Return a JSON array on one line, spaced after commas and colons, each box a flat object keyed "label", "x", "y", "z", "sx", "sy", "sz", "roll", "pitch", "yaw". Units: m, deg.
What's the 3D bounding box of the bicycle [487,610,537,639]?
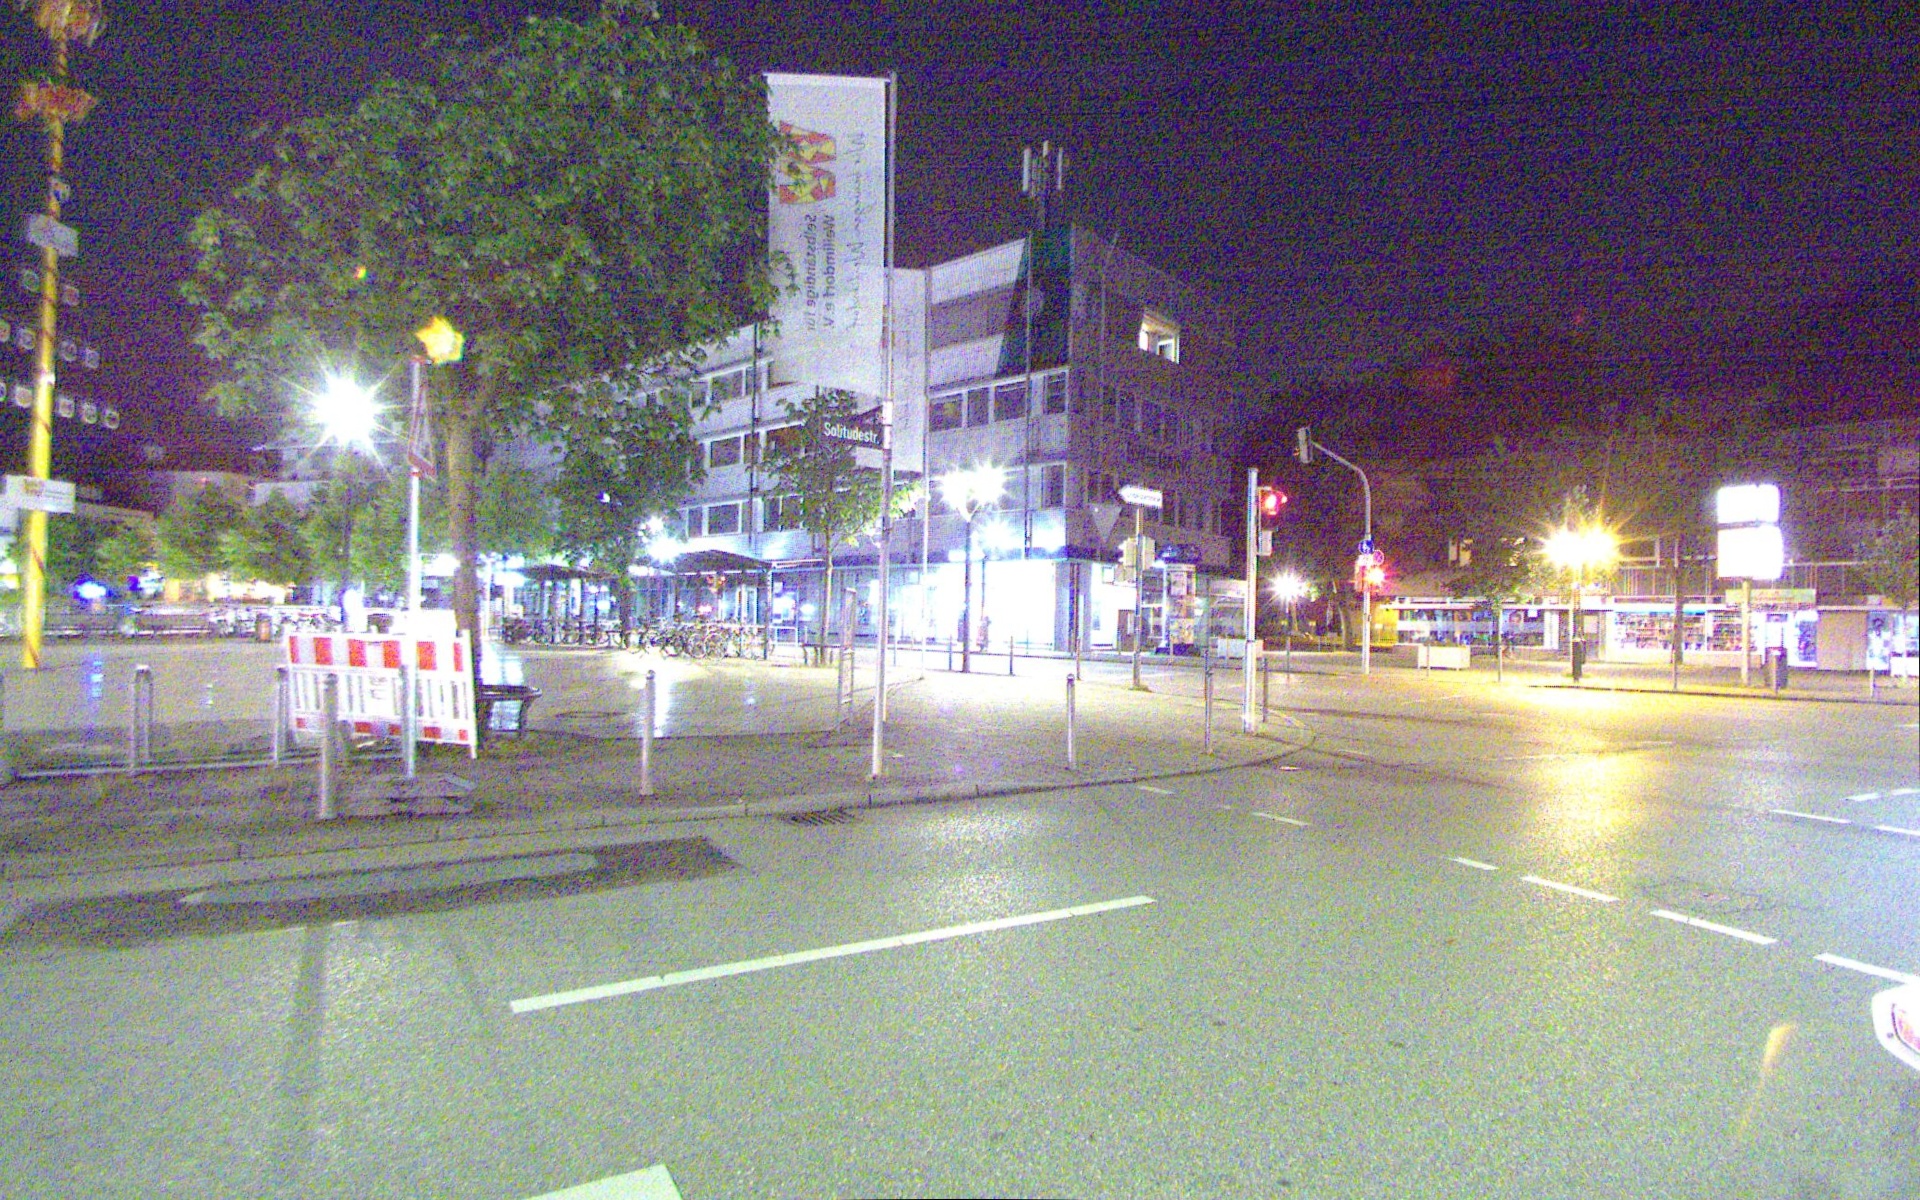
[{"label": "bicycle", "x": -15.547, "y": 0.861, "z": 34.885, "sx": 0.473, "sy": 0.970, "sz": 1.525, "roll": 2, "pitch": 0, "yaw": 44}]

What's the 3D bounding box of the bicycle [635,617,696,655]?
[{"label": "bicycle", "x": -7.847, "y": 0.952, "z": 26.824, "sx": 0.473, "sy": 0.970, "sz": 1.525, "roll": 2, "pitch": 0, "yaw": 44}]

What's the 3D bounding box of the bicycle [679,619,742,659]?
[{"label": "bicycle", "x": -6.338, "y": 0.983, "z": 25.575, "sx": 0.440, "sy": 0.970, "sz": 1.525, "roll": 2, "pitch": 0, "yaw": 43}]

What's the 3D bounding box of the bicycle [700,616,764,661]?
[{"label": "bicycle", "x": -5.647, "y": 0.942, "z": 24.926, "sx": 0.440, "sy": 1.068, "sz": 1.525, "roll": 2, "pitch": 0, "yaw": 43}]

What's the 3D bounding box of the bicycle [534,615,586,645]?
[{"label": "bicycle", "x": -13.161, "y": 0.991, "z": 33.090, "sx": 0.473, "sy": 0.970, "sz": 1.525, "roll": 2, "pitch": 0, "yaw": 44}]

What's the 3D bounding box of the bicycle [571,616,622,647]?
[{"label": "bicycle", "x": -11.961, "y": 1.028, "z": 33.090, "sx": 0.473, "sy": 0.970, "sz": 1.525, "roll": 2, "pitch": 0, "yaw": 44}]

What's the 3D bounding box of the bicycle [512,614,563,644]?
[{"label": "bicycle", "x": -14.180, "y": 0.978, "z": 33.740, "sx": 0.473, "sy": 0.970, "sz": 1.525, "roll": 2, "pitch": 0, "yaw": 44}]

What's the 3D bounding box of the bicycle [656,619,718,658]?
[{"label": "bicycle", "x": -7.101, "y": 0.990, "z": 26.140, "sx": 0.473, "sy": 0.970, "sz": 1.525, "roll": 2, "pitch": 0, "yaw": 44}]

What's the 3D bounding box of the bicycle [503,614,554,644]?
[{"label": "bicycle", "x": -14.761, "y": 0.988, "z": 34.348, "sx": 0.473, "sy": 0.970, "sz": 1.525, "roll": 2, "pitch": 0, "yaw": 44}]

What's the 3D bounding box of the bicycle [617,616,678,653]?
[{"label": "bicycle", "x": -8.527, "y": 0.934, "z": 27.424, "sx": 0.473, "sy": 0.970, "sz": 1.525, "roll": 2, "pitch": 0, "yaw": 44}]
